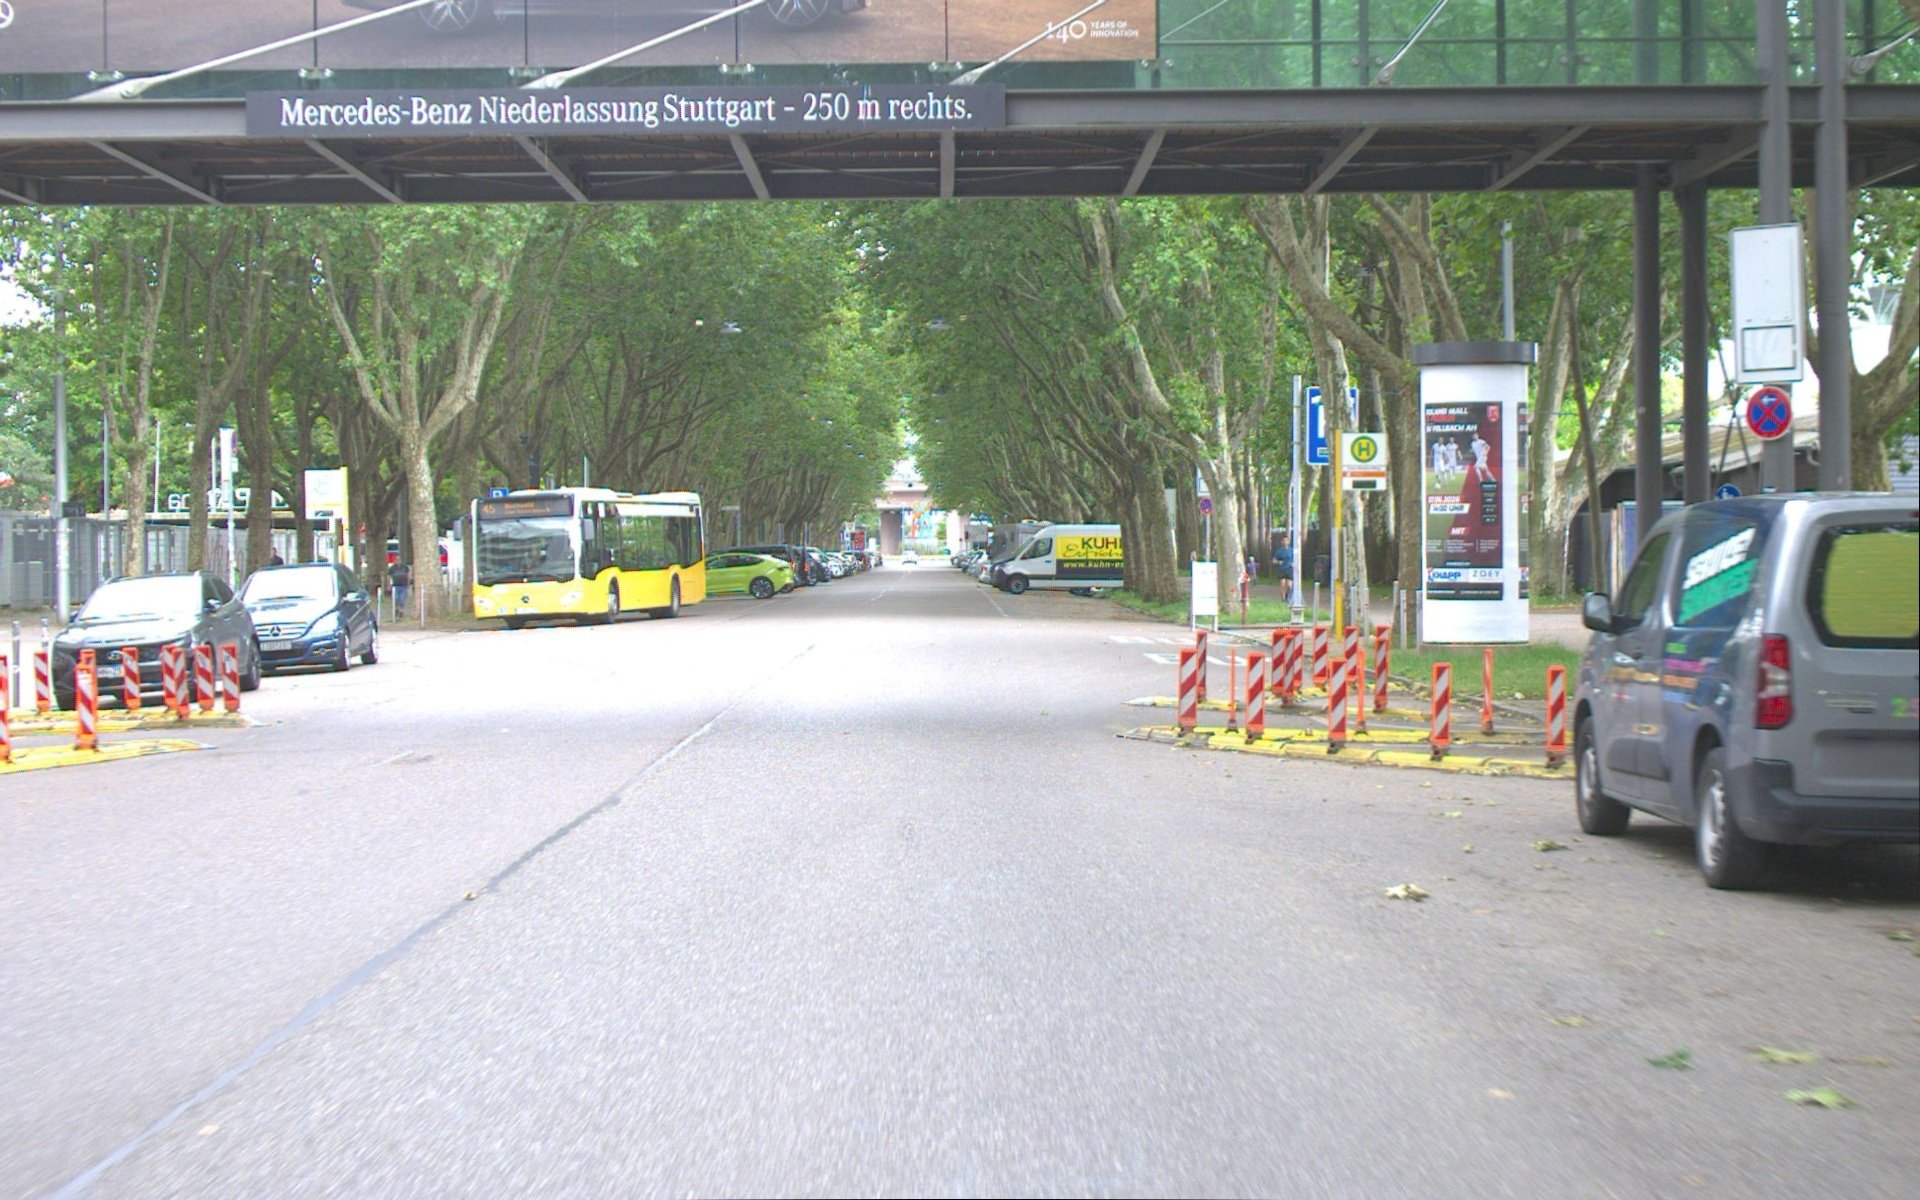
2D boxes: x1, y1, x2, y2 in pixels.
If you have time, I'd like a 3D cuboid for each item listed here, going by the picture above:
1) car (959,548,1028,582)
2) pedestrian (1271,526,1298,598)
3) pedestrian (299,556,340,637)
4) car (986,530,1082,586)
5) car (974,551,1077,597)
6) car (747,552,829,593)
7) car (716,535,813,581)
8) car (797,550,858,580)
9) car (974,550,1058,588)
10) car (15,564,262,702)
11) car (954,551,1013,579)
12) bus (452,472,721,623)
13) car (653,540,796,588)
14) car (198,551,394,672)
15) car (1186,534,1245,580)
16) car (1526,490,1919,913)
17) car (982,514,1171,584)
[{"bbox_3d":[1.748,-1.834,180.342,3.621,1.788,1.543,0,1,-1],"label":"car"},{"bbox_3d":[8.540,-0.999,90.568,0.572,1.881,0.617,0,1,-9],"label":"pedestrian"},{"bbox_3d":[-12.806,-0.080,68.709,0.667,1.598,0.611,-1,1,-25],"label":"pedestrian"},{"bbox_3d":[3.103,-1.772,145.183,3.987,2.331,1.543,0,1,-1],"label":"car"},{"bbox_3d":[2.558,-1.028,134.551,3.987,1.788,1.543,0,1,-1],"label":"car"},{"bbox_3d":[-8.047,-1.295,160.981,3.661,1.857,1.624,0,1,3],"label":"car"},{"bbox_3d":[-7.772,-1.667,136.771,3.781,1.788,1.543,0,1,-1],"label":"car"},{"bbox_3d":[-8.878,-2.376,231.135,3.987,1.963,2.000,0,1,0],"label":"car"},{"bbox_3d":[2.677,-1.512,165.780,3.987,1.788,1.543,0,1,-1],"label":"car"},{"bbox_3d":[-9.883,0.350,41.679,1.858,1.448,4.449,-3,1,0],"label":"car"},{"bbox_3d":[1.581,-2.373,230.904,3.987,1.855,1.637,0,1,0],"label":"car"},{"bbox_3d":[-8.553,-1.250,80.920,3.039,3.149,12.673,-2,1,9],"label":"bus"},{"bbox_3d":[-8.011,-1.225,117.042,4.700,1.579,1.864,0,1,1],"label":"car"},{"bbox_3d":[-9.696,0.132,50.489,1.993,1.579,4.113,-3,1,0],"label":"car"},{"bbox_3d":[9.923,-1.672,133.624,1.993,1.766,4.000,0,1,0],"label":"car"},{"bbox_3d":[4.197,0.399,17.112,1.847,1.777,5.211,1,1,0],"label":"car"},{"bbox_3d":[4.288,-1.888,127.085,6.822,2.505,2.317,-1,1,-2],"label":"car"}]
